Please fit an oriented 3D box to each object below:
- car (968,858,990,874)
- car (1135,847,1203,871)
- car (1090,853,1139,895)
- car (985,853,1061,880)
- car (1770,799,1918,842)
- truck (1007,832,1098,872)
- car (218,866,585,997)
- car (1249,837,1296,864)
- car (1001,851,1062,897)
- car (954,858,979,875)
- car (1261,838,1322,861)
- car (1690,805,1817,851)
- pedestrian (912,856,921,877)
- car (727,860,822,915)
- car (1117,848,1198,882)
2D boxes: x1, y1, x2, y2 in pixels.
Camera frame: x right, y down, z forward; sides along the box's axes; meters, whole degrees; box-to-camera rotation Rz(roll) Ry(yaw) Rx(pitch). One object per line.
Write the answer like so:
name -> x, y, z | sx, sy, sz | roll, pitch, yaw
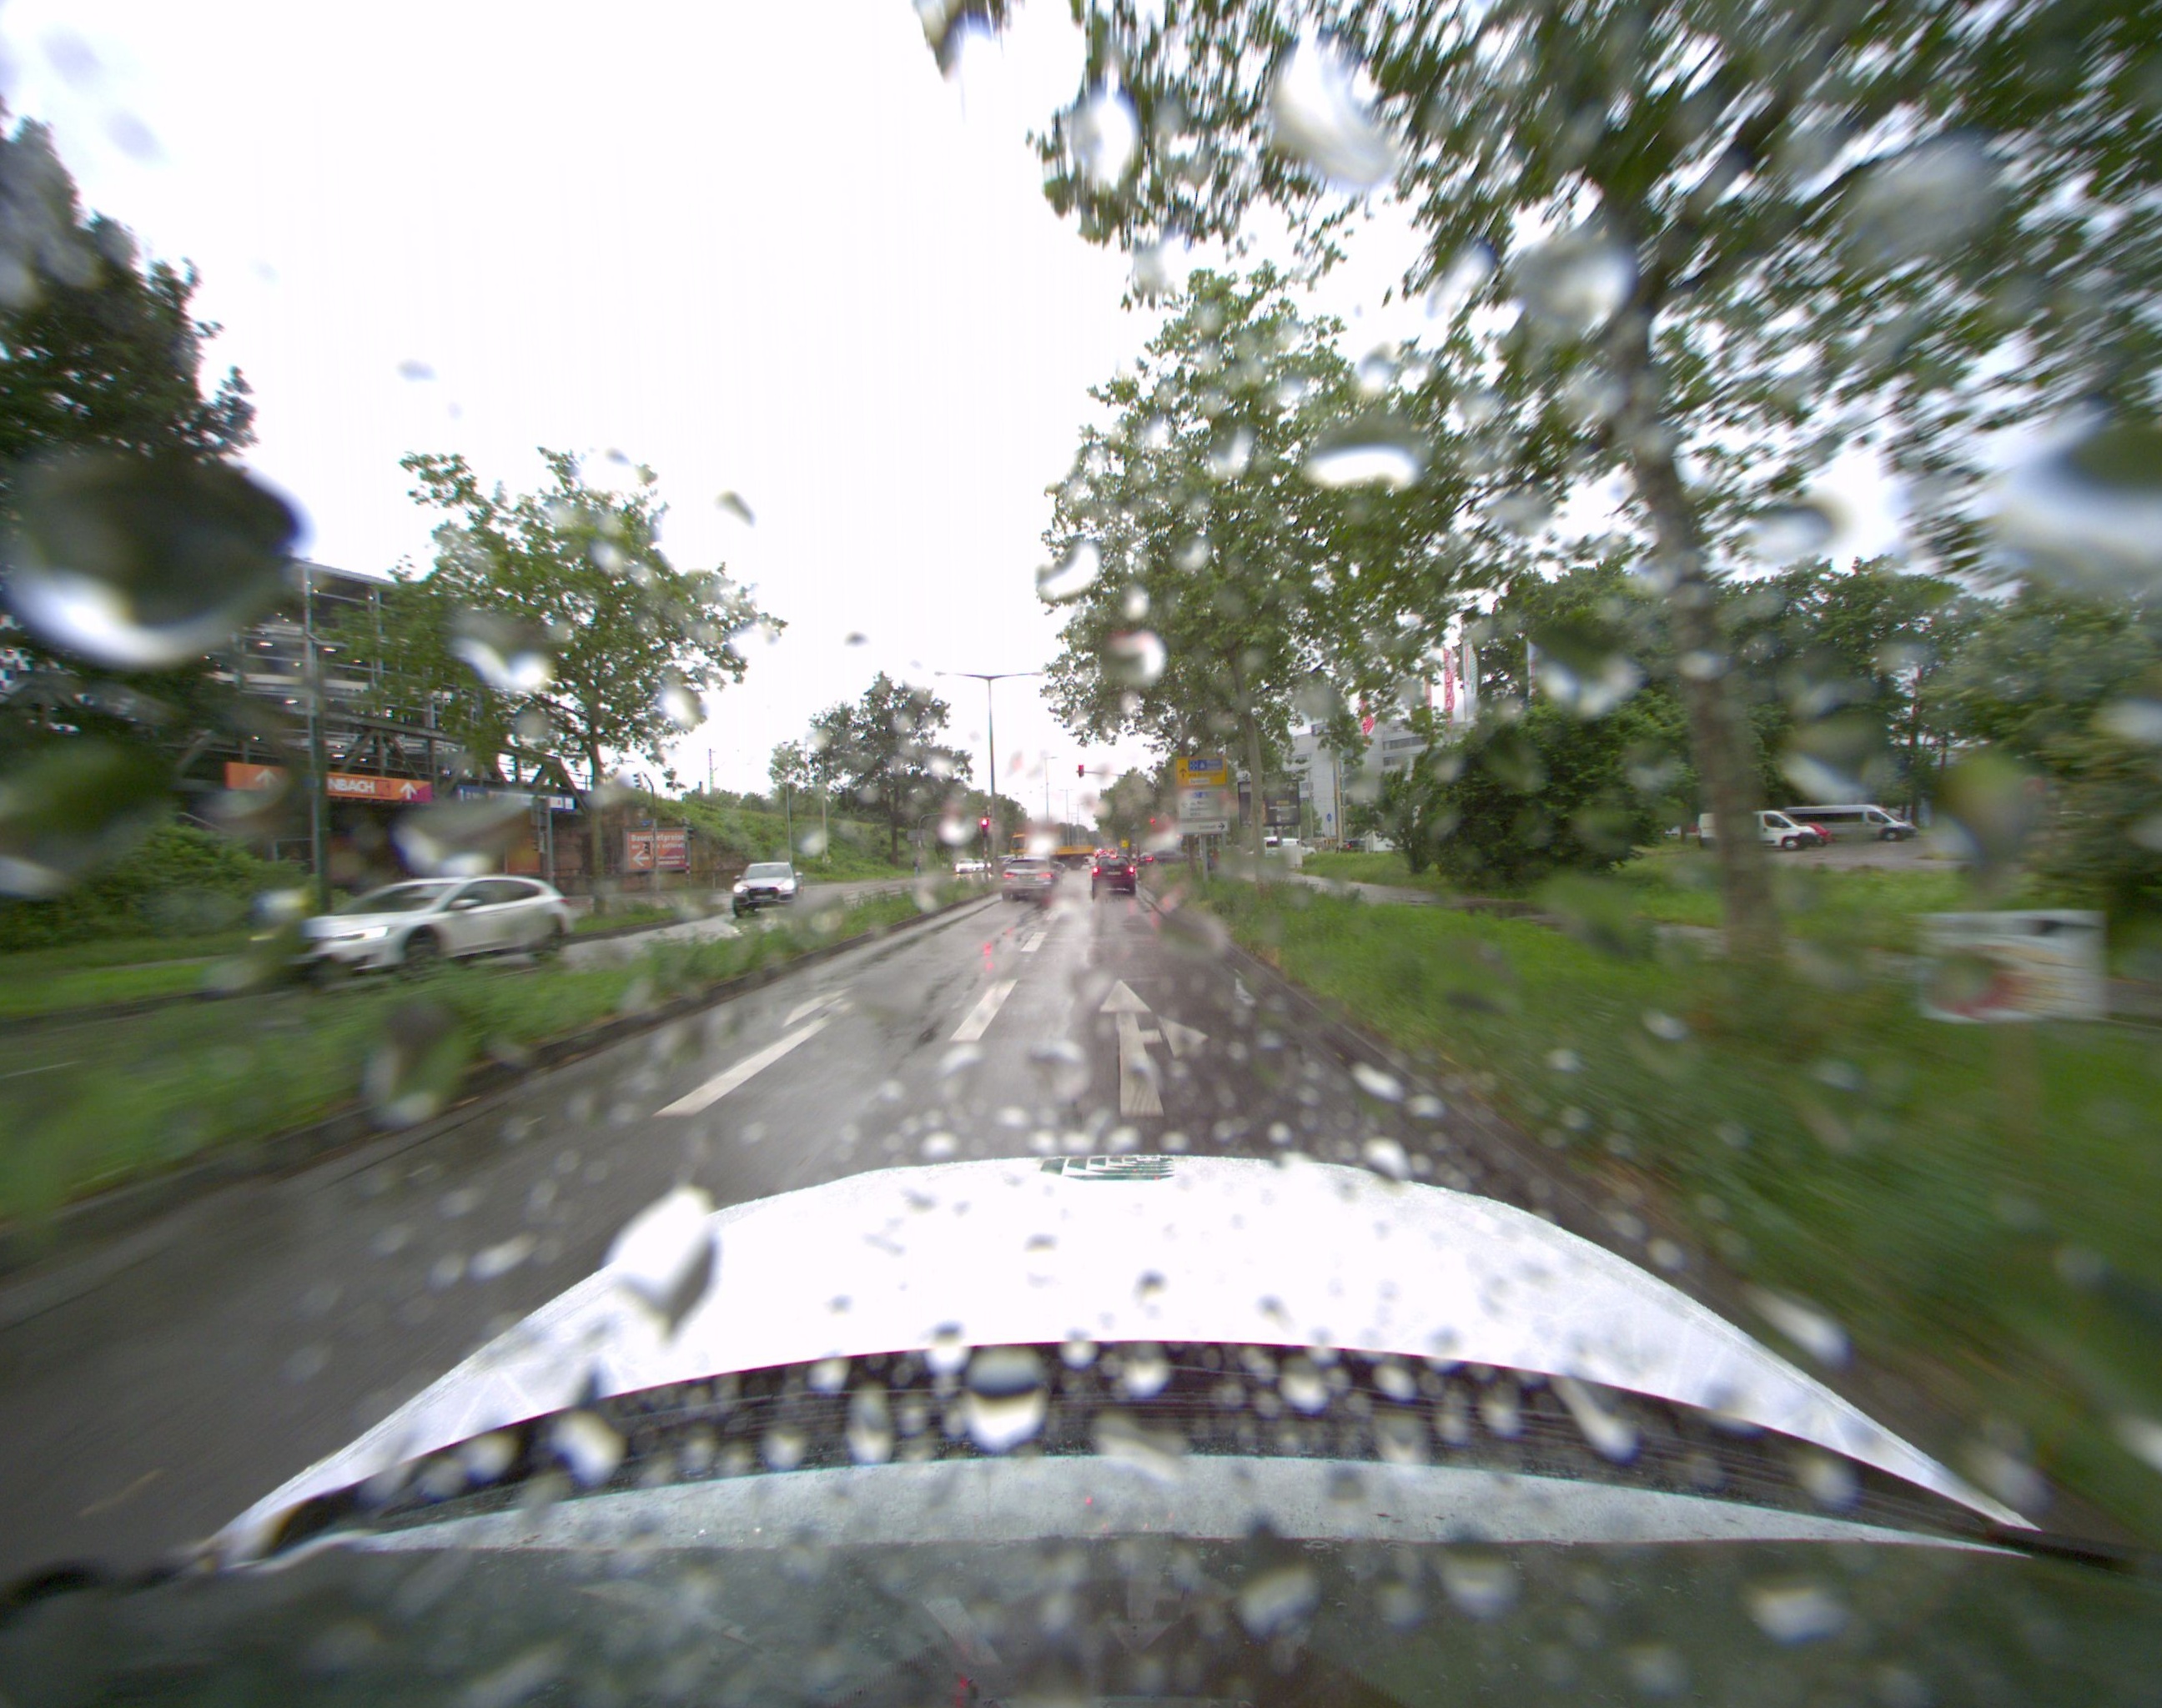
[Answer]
car -> -10.753, 1.258, 86.118 | 1.706, 1.530, 4.002 | -2, 0, 2
car -> 6.090, 0.355, 56.161 | 4.397, 1.537, 1.786 | -1, 0, -28
car -> 1.319, 0.759, 32.489 | 1.789, 1.537, 4.389 | 0, 0, 2
car -> -3.647, 0.786, 51.315 | 4.398, 1.537, 1.786 | -2, 0, -28
car -> 50.346, -2.166, 53.931 | 2.338, 2.434, 6.752 | -2, 0, -34
truck -> -2.270, -0.192, 66.321 | 7.079, 3.054, 2.618 | -2, -1, -36
car -> -10.253, 1.048, 12.892 | 1.850, 1.589, 4.520 | -2, 0, 2
car -> 18.293, -0.319, 77.746 | 4.404, 2.190, 1.783 | -5, 1, -33
car -> -1.652, 0.659, 28.564 | 1.684, 1.433, 4.576 | -1, 0, 2
car -> -11.140, 1.171, 79.585 | 1.706, 1.530, 4.002 | -2, 0, 2
car -> 15.996, -0.323, 61.893 | 4.398, 1.537, 1.786 | -2, 0, -28
car -> 35.310, -1.309, 42.889 | 1.815, 2.153, 4.859 | 1, -2, -39
pedestrian -> -14.247, 1.105, 70.493 | 0.528, 1.786, 0.676 | -1, -1, 19
car -> -10.066, 1.043, 27.082 | 1.855, 1.589, 4.507 | -2, 0, -7
car -> 4.283, 0.558, 45.070 | 4.409, 1.537, 1.781 | -5, 2, -38
